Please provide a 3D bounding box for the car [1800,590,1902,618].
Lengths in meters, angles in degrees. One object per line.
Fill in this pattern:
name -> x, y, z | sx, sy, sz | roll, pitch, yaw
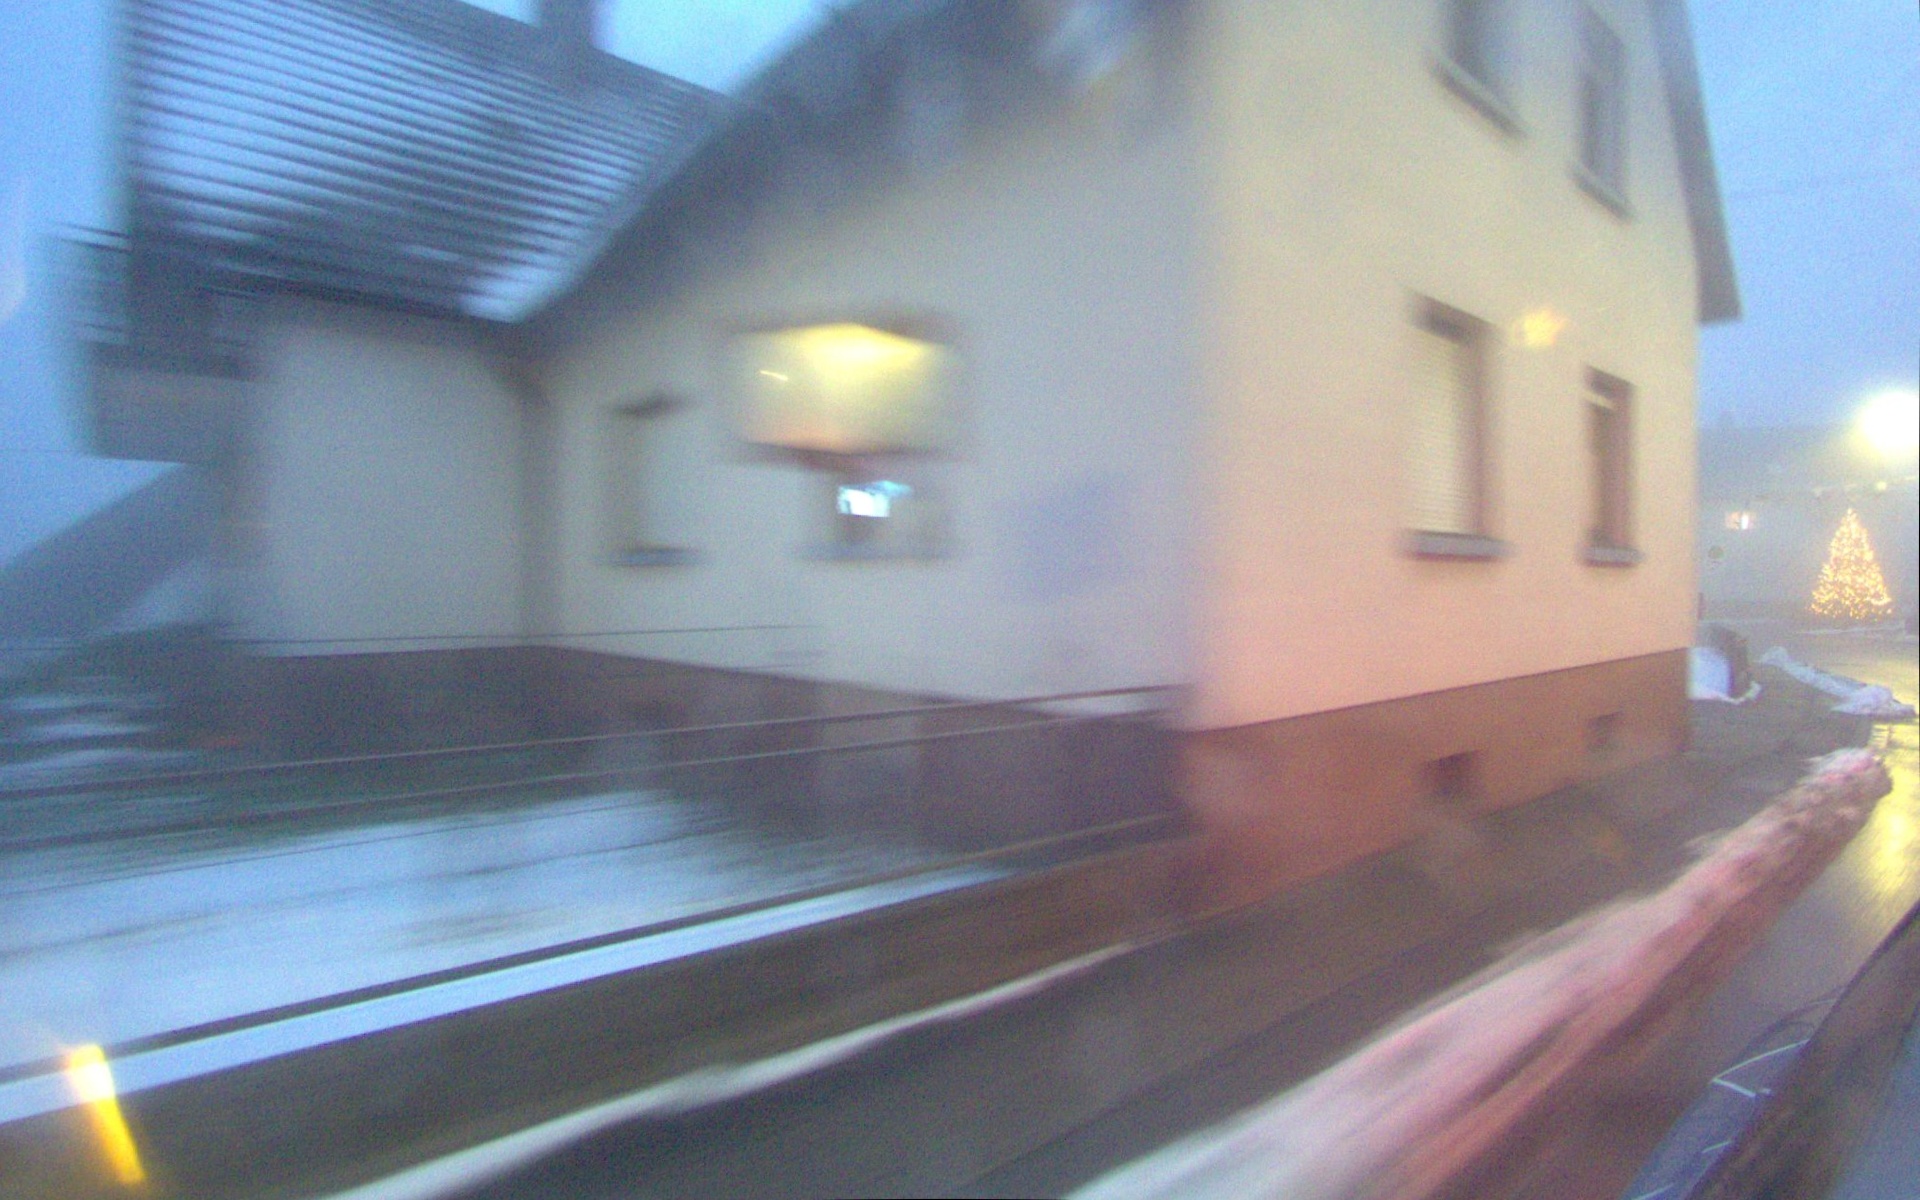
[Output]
car -> 48.001, 0.227, 54.578 | 3.734, 1.390, 1.618 | -1, 0, 16
